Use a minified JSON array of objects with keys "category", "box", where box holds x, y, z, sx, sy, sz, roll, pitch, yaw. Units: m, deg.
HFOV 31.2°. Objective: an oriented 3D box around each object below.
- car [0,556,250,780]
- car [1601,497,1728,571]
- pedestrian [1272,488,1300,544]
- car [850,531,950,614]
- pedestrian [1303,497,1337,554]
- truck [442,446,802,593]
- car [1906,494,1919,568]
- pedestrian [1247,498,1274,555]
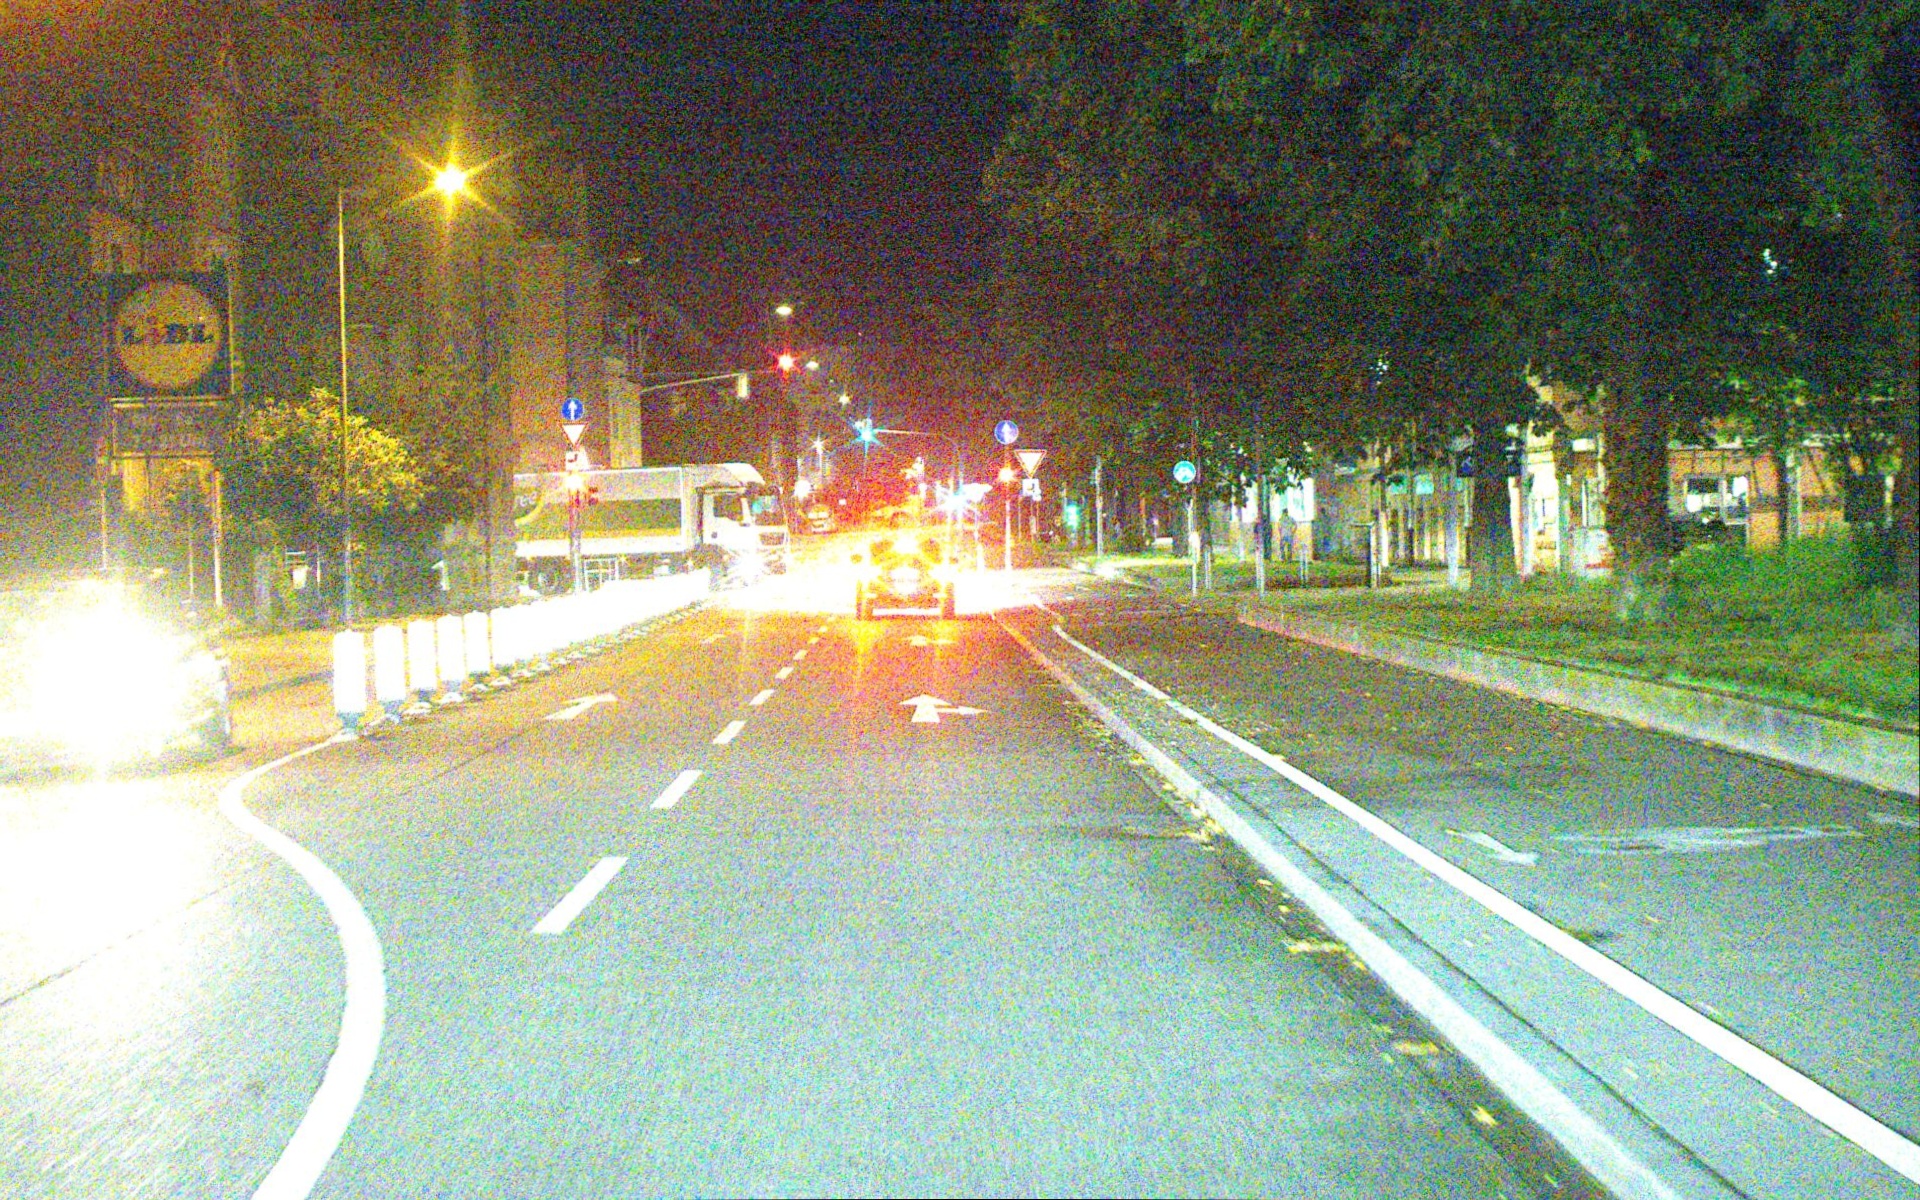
[{"category":"car","box":[-6.392,0.450,25.021,1.667,1.423,4.001,-3,1,-2]},{"category":"car","box":[14.273,-1.338,69.805,1.512,1.390,4.482,-2,1,-1]},{"category":"pedestrian","box":[10.433,-2.684,110.112,0.738,1.763,0.907,-2,1,-1]},{"category":"car","box":[-1.100,-0.549,64.738,1.805,1.489,4.730,0,1,0]},{"category":"pedestrian","box":[11.566,-2.393,110.348,0.901,1.763,0.907,-2,1,-2]},{"category":"truck","box":[-9.731,-2.282,98.441,10.092,3.705,2.761,-2,1,25]},{"category":"car","box":[20.867,-1.437,69.911,1.781,1.528,4.001,-2,1,-5]},{"category":"pedestrian","box":[9.616,-2.353,110.008,0.714,1.763,0.907,-2,1,-1]}]
